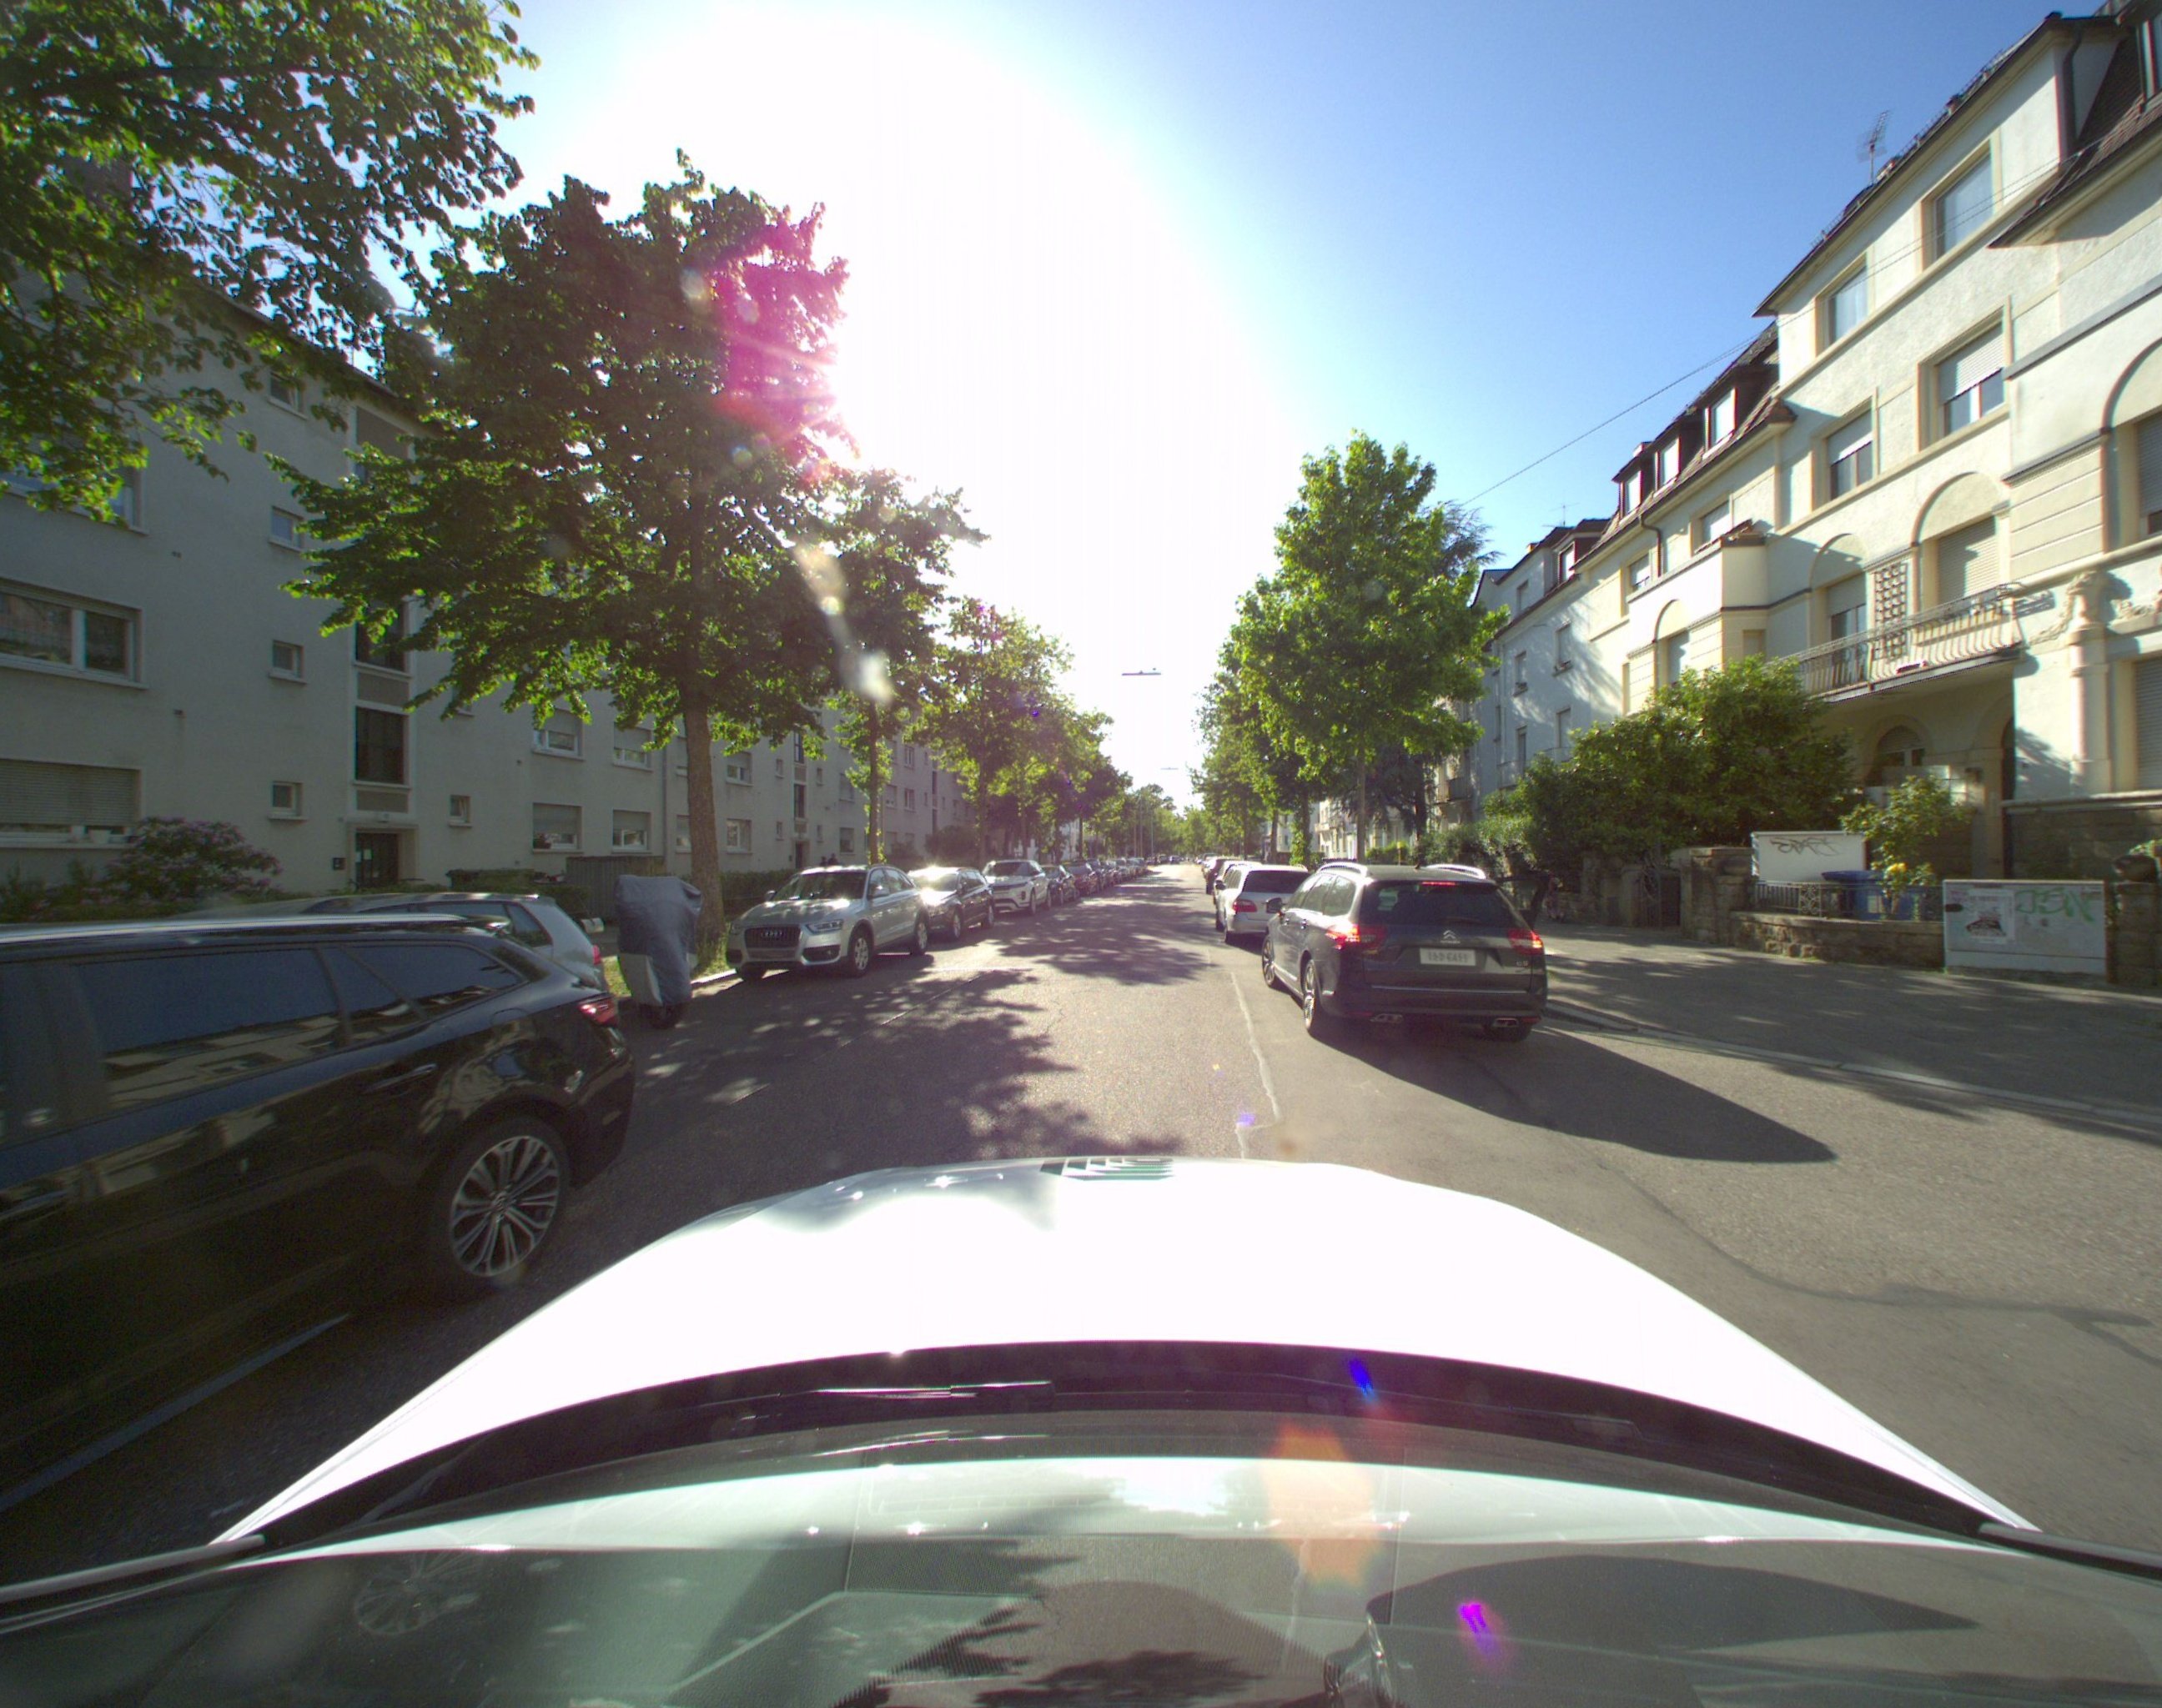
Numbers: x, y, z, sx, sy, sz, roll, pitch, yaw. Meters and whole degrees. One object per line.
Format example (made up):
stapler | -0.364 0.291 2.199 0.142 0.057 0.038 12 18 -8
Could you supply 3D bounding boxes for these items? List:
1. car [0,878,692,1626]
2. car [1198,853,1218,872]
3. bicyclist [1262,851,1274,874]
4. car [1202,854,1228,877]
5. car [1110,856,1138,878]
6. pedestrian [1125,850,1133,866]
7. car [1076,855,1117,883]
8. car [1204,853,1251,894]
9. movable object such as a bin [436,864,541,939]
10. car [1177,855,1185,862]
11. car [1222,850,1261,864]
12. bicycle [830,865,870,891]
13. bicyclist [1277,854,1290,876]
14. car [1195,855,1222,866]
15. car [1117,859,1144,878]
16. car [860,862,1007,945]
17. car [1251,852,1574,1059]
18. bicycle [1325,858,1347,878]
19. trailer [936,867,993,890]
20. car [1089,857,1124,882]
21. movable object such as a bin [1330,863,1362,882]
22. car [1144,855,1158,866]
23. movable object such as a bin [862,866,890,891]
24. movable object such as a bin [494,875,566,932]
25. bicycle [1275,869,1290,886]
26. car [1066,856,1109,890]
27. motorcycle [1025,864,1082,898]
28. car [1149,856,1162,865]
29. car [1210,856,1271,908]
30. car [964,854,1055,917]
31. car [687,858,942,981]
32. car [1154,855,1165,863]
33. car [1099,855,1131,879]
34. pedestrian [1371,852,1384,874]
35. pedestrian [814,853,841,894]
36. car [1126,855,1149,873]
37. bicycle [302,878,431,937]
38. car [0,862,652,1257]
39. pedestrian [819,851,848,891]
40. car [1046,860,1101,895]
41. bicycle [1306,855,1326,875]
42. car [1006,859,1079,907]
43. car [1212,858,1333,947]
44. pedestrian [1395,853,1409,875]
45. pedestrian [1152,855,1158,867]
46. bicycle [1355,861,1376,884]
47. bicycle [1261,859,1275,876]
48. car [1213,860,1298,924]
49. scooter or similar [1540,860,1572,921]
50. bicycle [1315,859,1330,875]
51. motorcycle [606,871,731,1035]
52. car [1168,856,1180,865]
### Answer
car | -3.080 0.870 1.892 1.799 1.445 4.375 -2 -1 7
car | 13.396 0.897 86.296 1.960 1.949 4.995 -1 0 7
bicyclist | 13.455 0.601 58.694 0.674 1.609 0.923 -1 -1 4
car | 10.822 0.893 66.013 1.896 1.699 4.323 2 0 8
car | 3.313 0.949 62.377 1.700 1.544 3.939 -3 -1 8
pedestrian | 6.467 0.539 109.023 0.852 2.013 0.985 -1 0 16
car | 0.915 0.820 46.638 1.819 1.453 4.131 -2 0 8
car | 6.547 0.828 36.506 1.914 1.651 5.108 1 0 10
movable object such as a bin | -11.179 0.876 15.428 0.926 1.324 1.380 -1 -1 3
car | 25.240 1.150 205.848 1.884 1.560 4.008 -1 0 7
car | 21.575 0.399 109.342 5.097 1.822 1.983 0 -1 -27
bicycle | -10.853 1.123 38.326 0.507 1.153 1.967 0 -1 31
bicyclist | 14.488 0.812 58.249 0.673 1.553 1.023 -1 -1 5
car | 19.903 1.011 127.360 3.969 1.587 1.729 -1 0 4
car | 4.367 1.246 71.043 1.983 1.453 4.271 -3 -1 7
car | -3.025 0.969 17.877 1.719 1.447 4.831 -3 0 7
car | 2.969 0.780 8.551 1.886 1.524 4.976 0 -1 7
bicycle | 14.353 0.781 45.852 0.800 1.115 2.003 0 0 5
trailer | -5.572 1.170 39.404 1.778 1.034 3.290 -1 0 10
car | 1.638 0.921 51.340 1.752 1.444 3.916 -3 -1 7
movable object such as a bin | 13.193 0.898 40.524 1.210 0.905 1.674 -1 0 28
car | 11.231 1.079 130.996 1.982 1.671 4.009 -1 0 8
movable object such as a bin | -8.940 1.056 35.536 0.877 1.034 0.846 -1 0 10
movable object such as a bin | -11.139 0.995 16.482 0.926 1.092 0.755 -1 -1 2
bicycle | 14.435 1.654 58.355 0.680 1.153 2.406 -1 0 5
car | 0.399 0.941 41.701 1.781 1.566 4.471 -3 -1 5
motorcycle | -1.121 1.107 33.328 2.280 1.270 0.807 -2 -1 -3
car | 13.390 1.131 146.166 1.982 1.585 4.009 -1 0 8
car | 5.221 0.871 26.994 1.645 1.532 3.977 2 0 7
car | -2.021 0.874 24.382 1.719 1.618 4.375 -4 -1 7
car | -3.810 0.847 12.740 2.054 1.524 4.728 -1 0 5
car | 16.172 1.122 167.824 1.982 1.585 4.009 -1 0 8
car | 2.418 0.892 56.939 1.801 1.596 4.242 -1 0 8
pedestrian | 15.391 0.463 42.255 0.506 1.142 0.758 0 -1 9
pedestrian | -11.876 0.901 38.144 0.773 1.913 0.884 -2 -1 34
car | 5.346 0.957 77.053 1.829 1.595 4.271 -3 -1 7
bicycle | -14.211 1.040 16.292 0.783 1.041 1.937 -1 0 4
car | -5.164 0.891 5.026 2.031 1.524 4.618 -2 0 9
pedestrian | -11.909 0.808 39.266 0.927 1.888 1.029 -1 0 10
car | -0.258 1.019 36.544 1.769 1.379 4.272 -3 -1 8
bicycle | 15.199 0.703 52.765 0.834 1.257 2.234 0 0 4
car | -1.303 1.004 29.686 1.718 1.477 4.630 -4 -1 8
car | 3.654 0.840 16.368 1.812 1.469 4.918 1 0 7
pedestrian | 16.706 0.533 42.416 0.507 1.142 0.757 0 -1 6
pedestrian | 11.681 1.046 128.483 0.713 1.900 0.836 -1 0 -2
bicycle | 12.929 0.829 37.014 0.577 0.975 1.908 -1 0 10
bicycle | 13.456 0.959 58.664 0.680 1.153 2.406 -1 0 5
car | 4.431 0.897 21.309 1.702 1.410 4.871 1 0 7
scooter or similar | 9.736 0.731 16.697 0.398 1.185 1.212 -1 0 23
bicycle | 14.950 0.795 50.371 0.592 0.957 1.908 -1 0 8
motorcycle | -4.517 0.950 8.812 0.993 1.503 2.211 -1 0 -32
car | 16.764 1.209 146.968 1.775 1.609 4.004 -1 0 4
